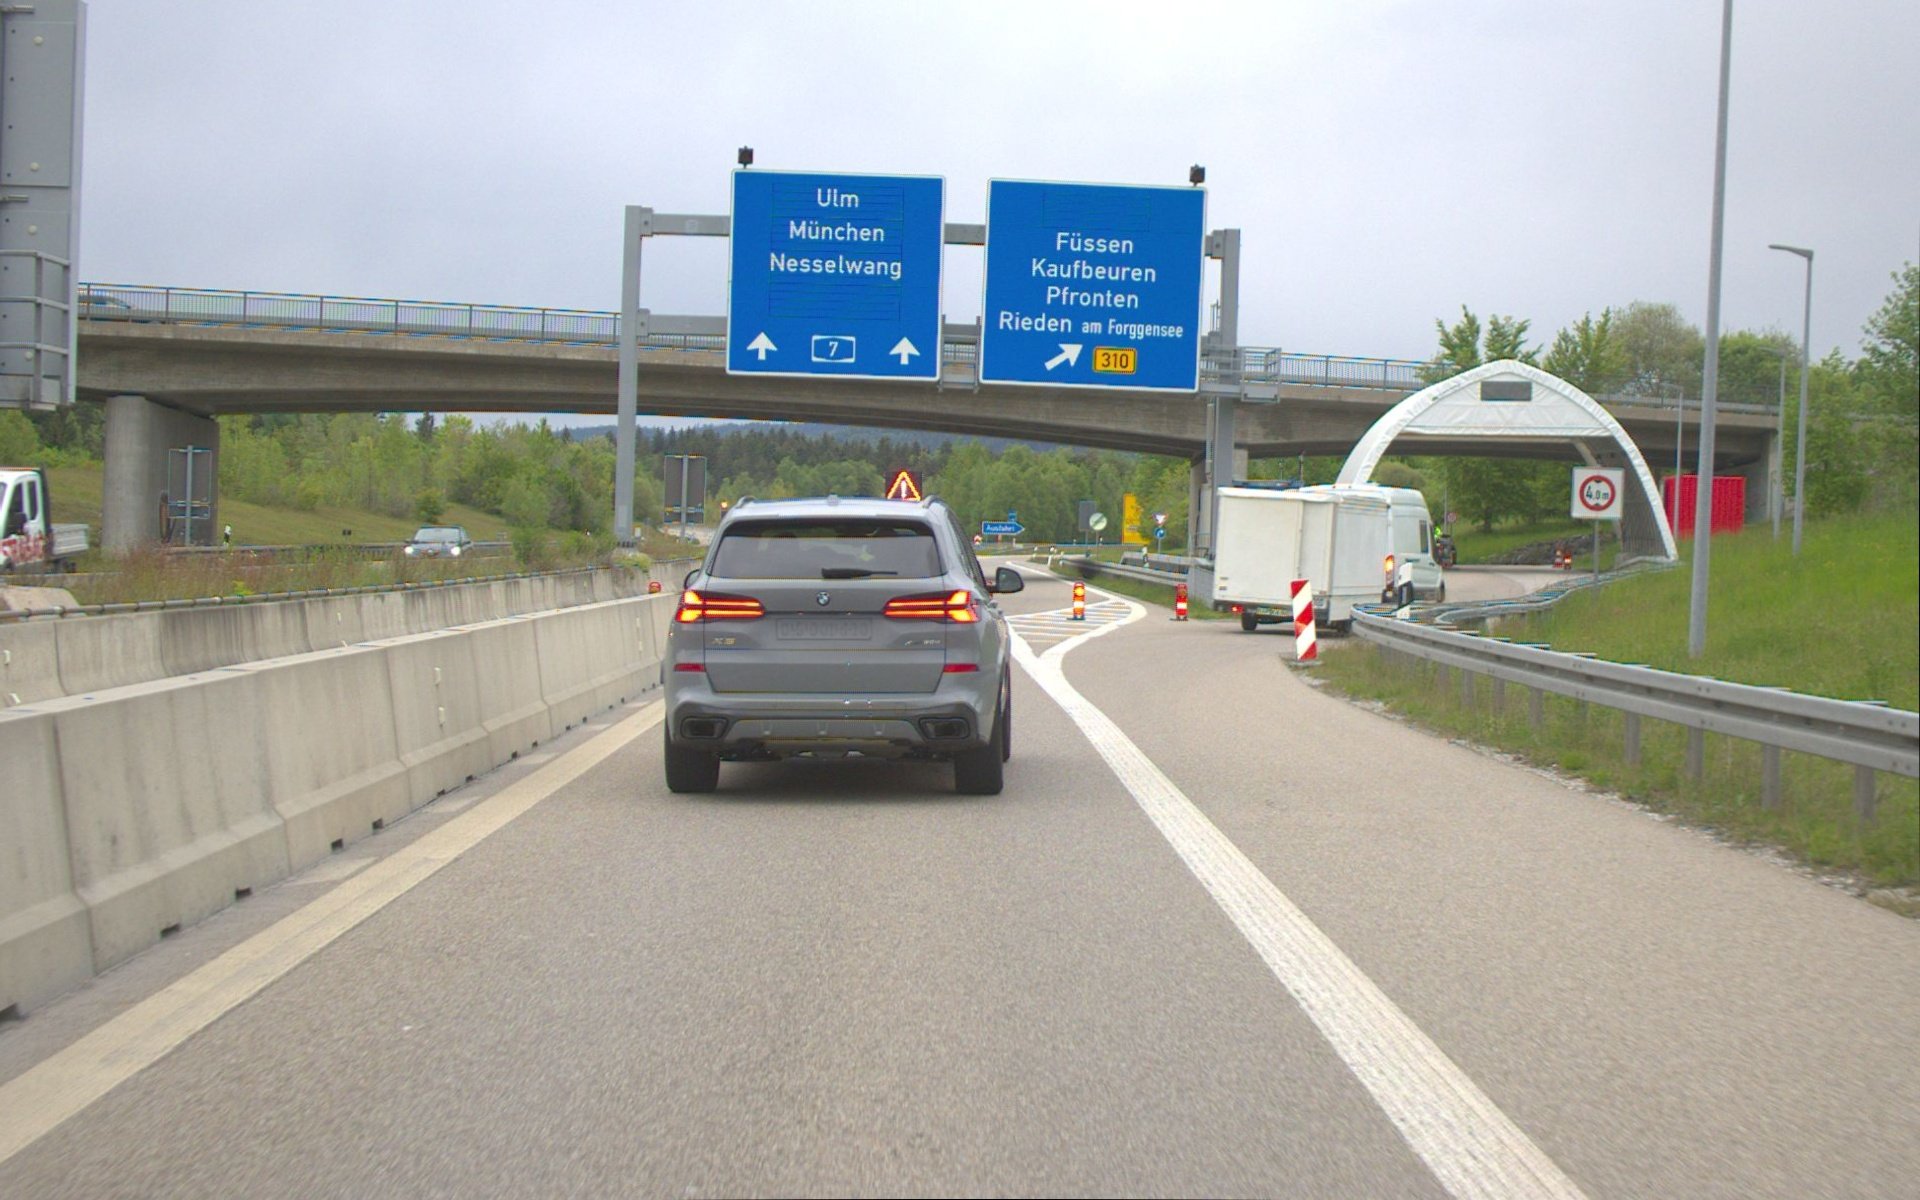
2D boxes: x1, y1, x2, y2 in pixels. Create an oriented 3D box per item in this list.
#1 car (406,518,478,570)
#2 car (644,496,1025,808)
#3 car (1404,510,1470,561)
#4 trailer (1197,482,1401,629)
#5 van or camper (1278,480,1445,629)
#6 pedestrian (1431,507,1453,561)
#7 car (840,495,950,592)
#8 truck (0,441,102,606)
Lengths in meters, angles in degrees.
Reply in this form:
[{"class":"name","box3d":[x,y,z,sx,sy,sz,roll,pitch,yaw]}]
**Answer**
[{"class":"car","box3d":[-15.537,-1.692,103.289,1.607,1.495,3.838,1,1,-1]},{"class":"car","box3d":[-0.664,0.250,21.123,1.994,1.713,4.000,1,1,3]},{"class":"car","box3d":[16.617,-2.252,119.995,1.994,1.766,3.765,0,1,4]},{"class":"trailer","box3d":[6.055,-0.776,60.519,2.281,2.422,6.812,1,1,17]},{"class":"van or camper","box3d":[7.851,-0.877,66.674,2.158,2.754,5.866,1,1,17]},{"class":"pedestrian","box3d":[17.278,-2.379,123.242,0.720,1.939,0.690,0,1,4]},{"class":"car","box3d":[-1.434,-1.263,74.610,2.286,2.006,5.051,1,2,-2]},{"class":"truck","box3d":[-15.535,-1.238,54.606,2.356,2.471,5.989,1,1,-1]}]
